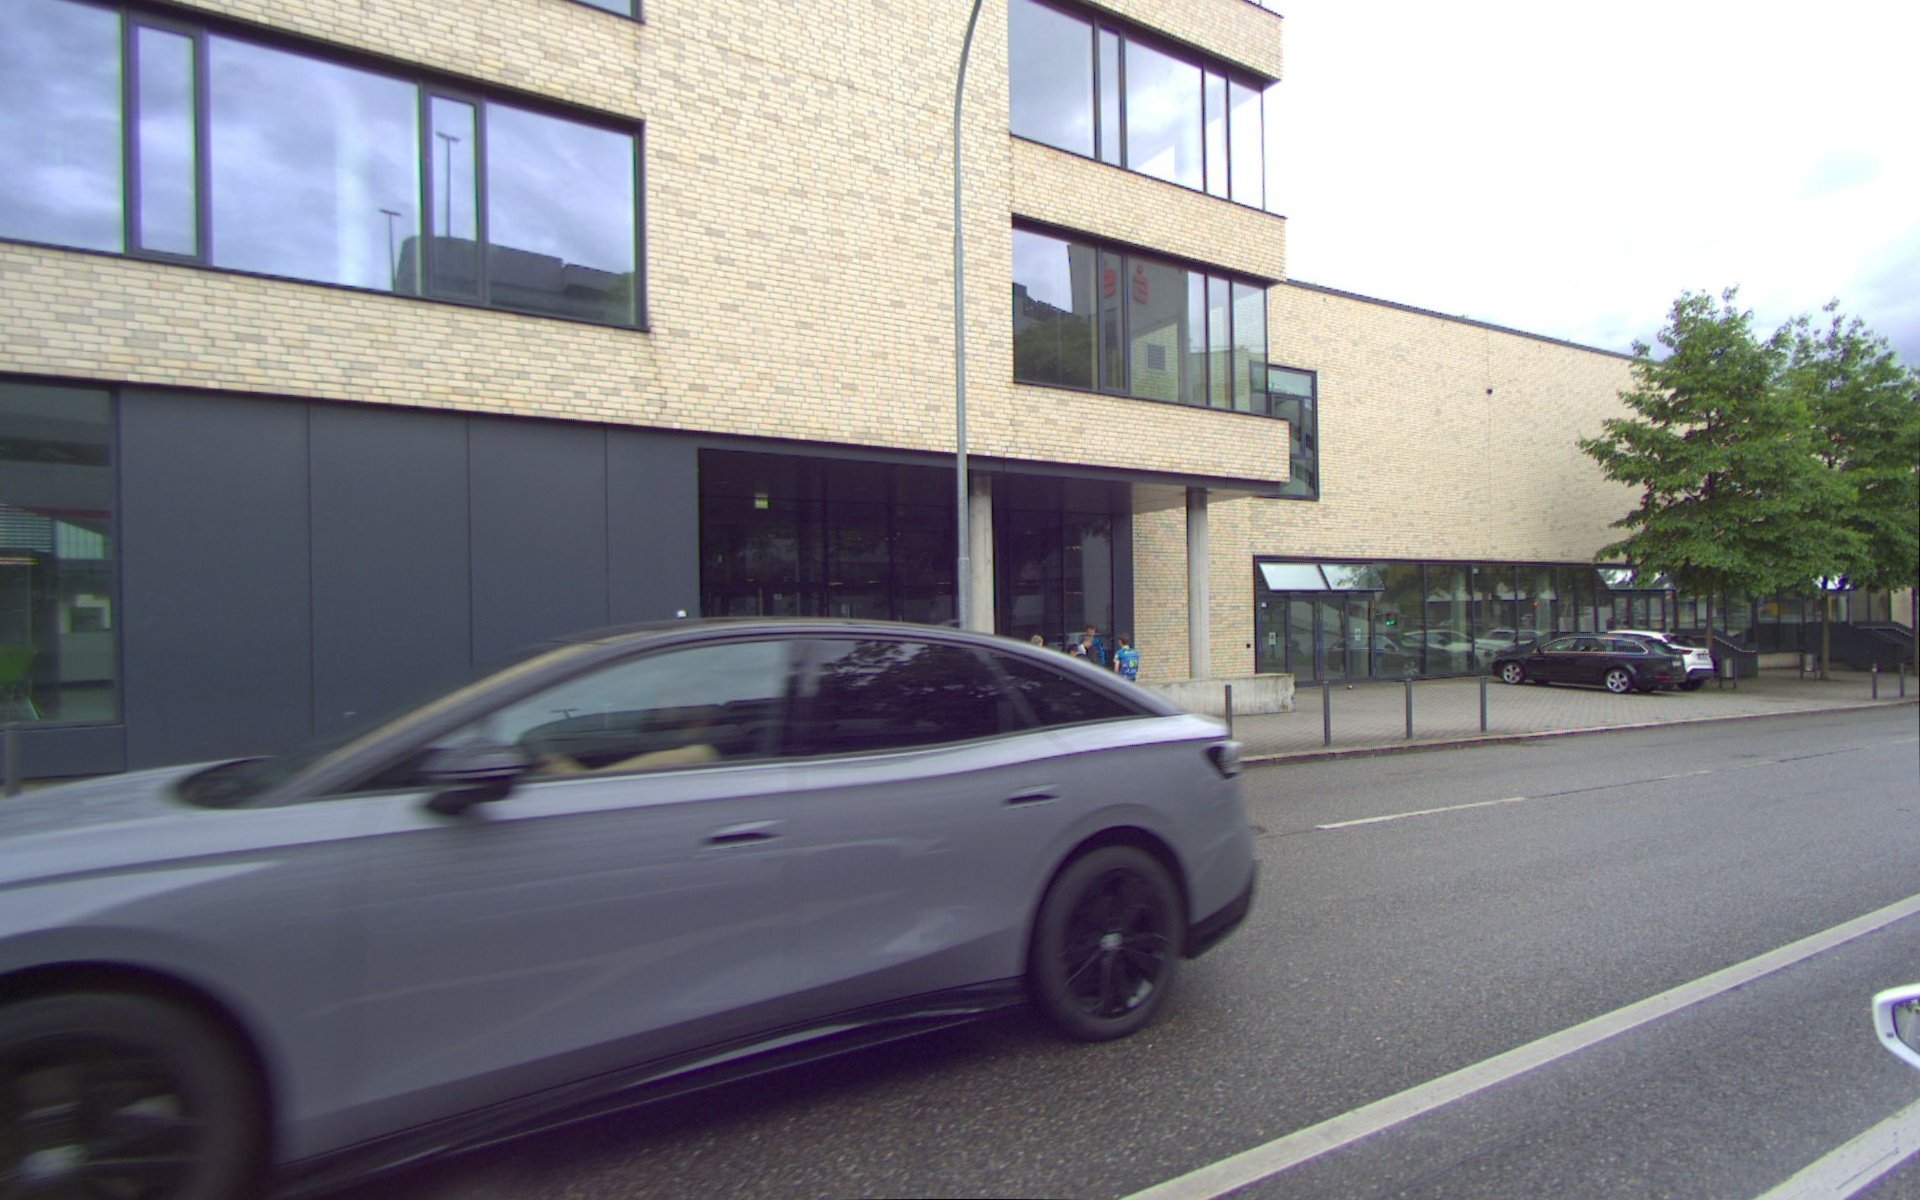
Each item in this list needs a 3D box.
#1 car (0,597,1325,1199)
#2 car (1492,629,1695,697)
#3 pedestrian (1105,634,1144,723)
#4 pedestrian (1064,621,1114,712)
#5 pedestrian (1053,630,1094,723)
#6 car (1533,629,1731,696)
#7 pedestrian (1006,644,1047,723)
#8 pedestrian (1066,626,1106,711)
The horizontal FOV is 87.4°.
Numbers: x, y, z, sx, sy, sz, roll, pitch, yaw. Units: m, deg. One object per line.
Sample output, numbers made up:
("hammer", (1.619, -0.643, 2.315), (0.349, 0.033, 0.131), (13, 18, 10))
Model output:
("car", (-0.890, 0.838, 3.722), (4.512, 1.517, 1.873), (2, -3, -33))
("car", (16.859, 1.625, 26.894), (1.981, 1.514, 4.147), (2, 0, -36))
("pedestrian", (2.856, 1.345, 17.437), (0.459, 1.495, 0.446), (2, 0, -35))
("pedestrian", (2.556, 1.292, 19.882), (0.632, 1.737, 0.696), (2, 0, -44))
("pedestrian", (1.880, 1.260, 16.706), (0.459, 1.495, 0.446), (2, 0, -35))
("car", (18.735, 1.696, 28.202), (1.975, 1.568, 4.159), (2, 0, -28))
("pedestrian", (1.079, 1.342, 16.332), (0.416, 1.231, 0.546), (2, 0, -27))
("pedestrian", (2.288, 1.236, 18.289), (0.523, 1.495, 0.438), (2, 0, -35))
